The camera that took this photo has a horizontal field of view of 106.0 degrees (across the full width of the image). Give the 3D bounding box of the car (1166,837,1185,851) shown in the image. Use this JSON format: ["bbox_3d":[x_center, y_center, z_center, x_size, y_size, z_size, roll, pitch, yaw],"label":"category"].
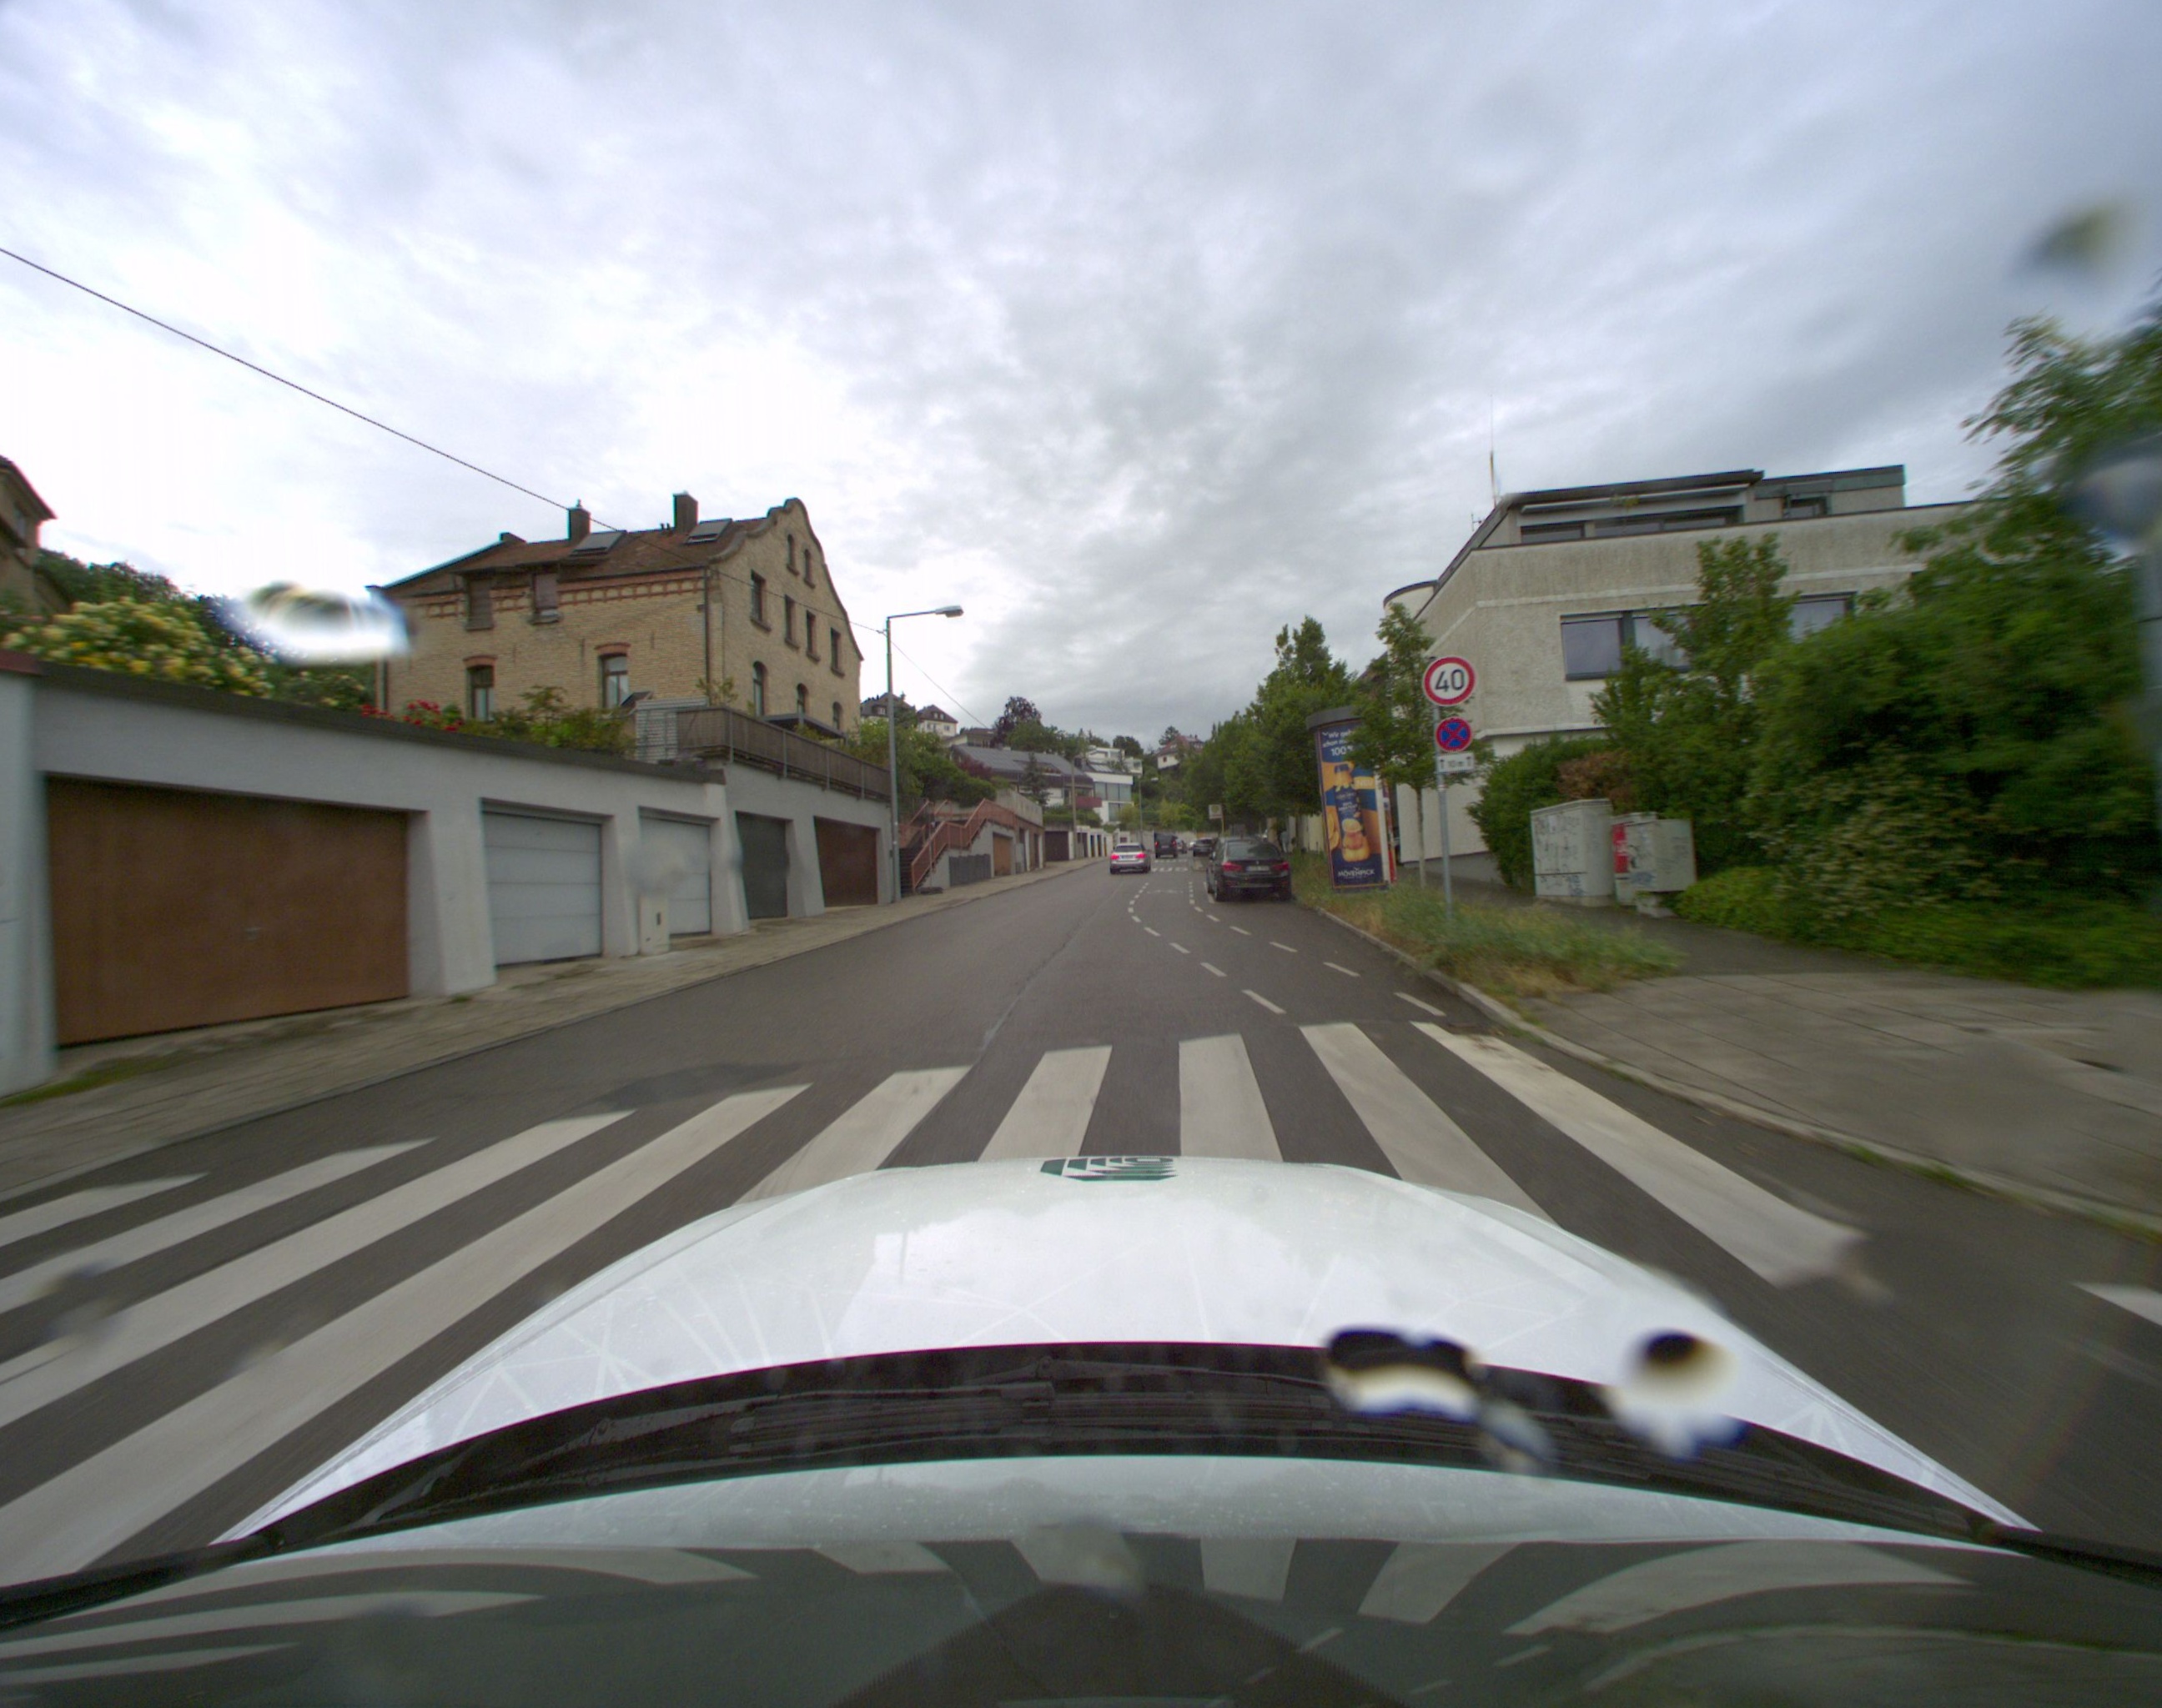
[{"bbox_3d":[9.349,-0.946,80.394,1.814,1.296,4.008,-1,1,7],"label":"car"}]

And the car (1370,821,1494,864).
[{"bbox_3d":[12.501,-0.389,29.168,3.952,1.415,1.734,-1,0,21],"label":"car"}]

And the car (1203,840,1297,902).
[{"bbox_3d":[4.211,0.363,20.861,1.763,1.377,4.353,-1,1,4],"label":"car"}]

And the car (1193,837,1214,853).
[{"bbox_3d":[9.996,-0.718,66.454,1.459,1.254,3.594,-1,1,11],"label":"car"}]

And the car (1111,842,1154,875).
[{"bbox_3d":[2.529,0.157,39.248,1.802,1.360,4.009,1,3,7],"label":"car"}]

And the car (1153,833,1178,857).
[{"bbox_3d":[6.766,-0.730,64.954,1.814,1.819,4.008,-1,1,6],"label":"car"}]

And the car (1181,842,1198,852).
[{"bbox_3d":[14.773,-0.965,110.502,1.810,1.296,4.017,-1,1,15],"label":"car"}]

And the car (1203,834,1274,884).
[{"bbox_3d":[5.014,0.129,26.289,1.708,1.450,3.836,-1,1,3],"label":"car"}]

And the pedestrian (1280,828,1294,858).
[{"bbox_3d":[12.589,-0.685,49.796,0.635,1.795,0.745,-1,0,4],"label":"pedestrian"}]
